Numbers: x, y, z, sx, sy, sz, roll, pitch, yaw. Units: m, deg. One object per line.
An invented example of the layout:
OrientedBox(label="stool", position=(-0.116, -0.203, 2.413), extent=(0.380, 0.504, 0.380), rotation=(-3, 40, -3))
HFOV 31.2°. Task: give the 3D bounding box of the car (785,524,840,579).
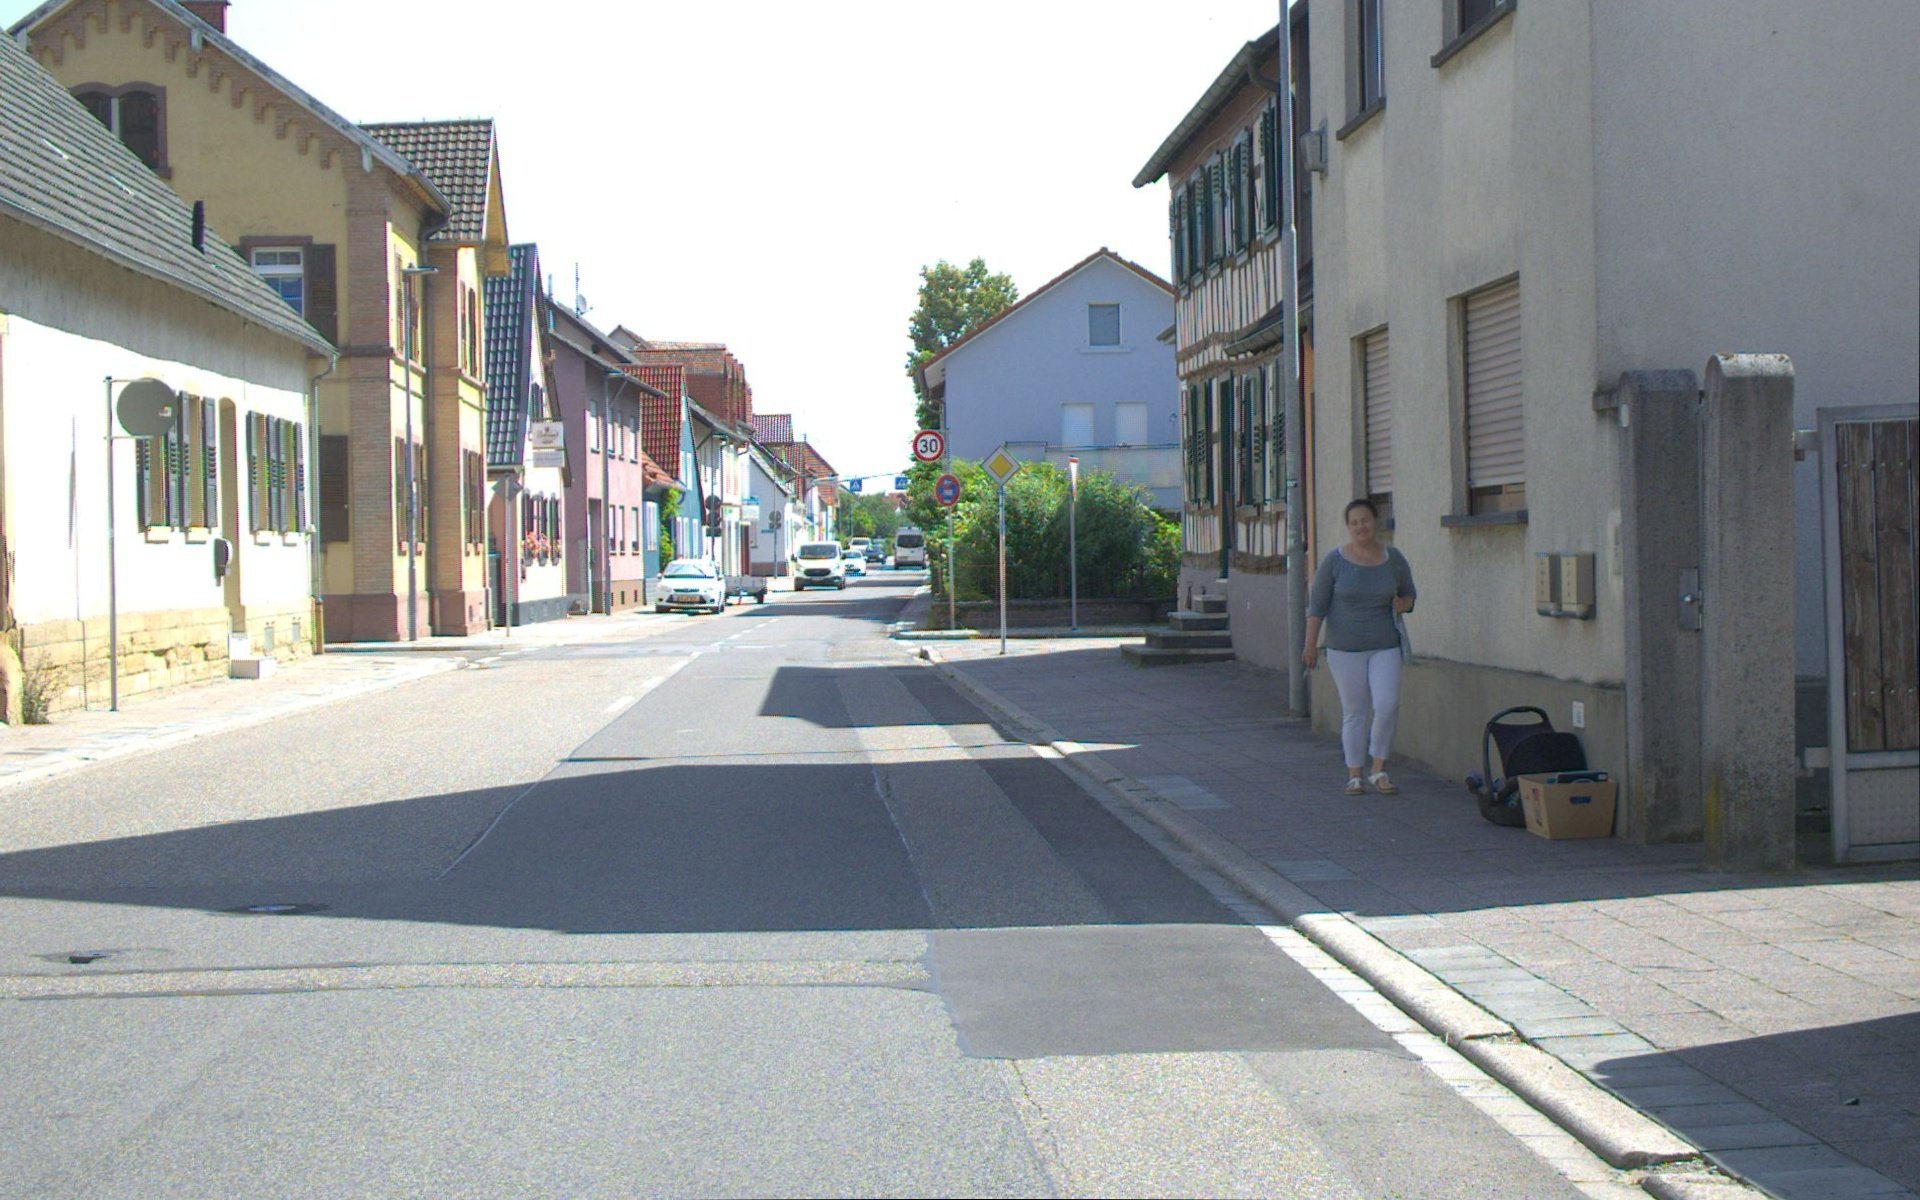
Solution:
OrientedBox(label="car", position=(-6.051, -1.957, 140.308), extent=(2.158, 2.072, 4.000), rotation=(-2, -1, -3))

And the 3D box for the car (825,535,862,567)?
OrientedBox(label="car", position=(-6.385, -2.685, 188.975), extent=(1.993, 1.744, 4.000), rotation=(0, 1, -1))

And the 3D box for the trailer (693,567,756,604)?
OrientedBox(label="trailer", position=(-7.719, -0.502, 112.929), extent=(1.993, 1.086, 4.001), rotation=(-1, 2, -3))

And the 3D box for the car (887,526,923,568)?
OrientedBox(label="car", position=(-3.434, -3.291, 214.162), extent=(2.017, 2.559, 4.001), rotation=(-1, 1, -2))

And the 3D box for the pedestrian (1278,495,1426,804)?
OrientedBox(label="pedestrian", position=(2.154, 0.259, 18.991), extent=(0.719, 1.658, 0.892), rotation=(-1, 1, 1))

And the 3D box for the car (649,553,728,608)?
OrientedBox(label="car", position=(-7.589, -0.567, 96.384), extent=(1.993, 1.437, 4.000), rotation=(-2, 1, -2))

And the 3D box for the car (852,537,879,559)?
OrientedBox(label="car", position=(-6.878, -3.767, 249.638), extent=(1.867, 1.539, 3.839), rotation=(-2, 1, -2))
